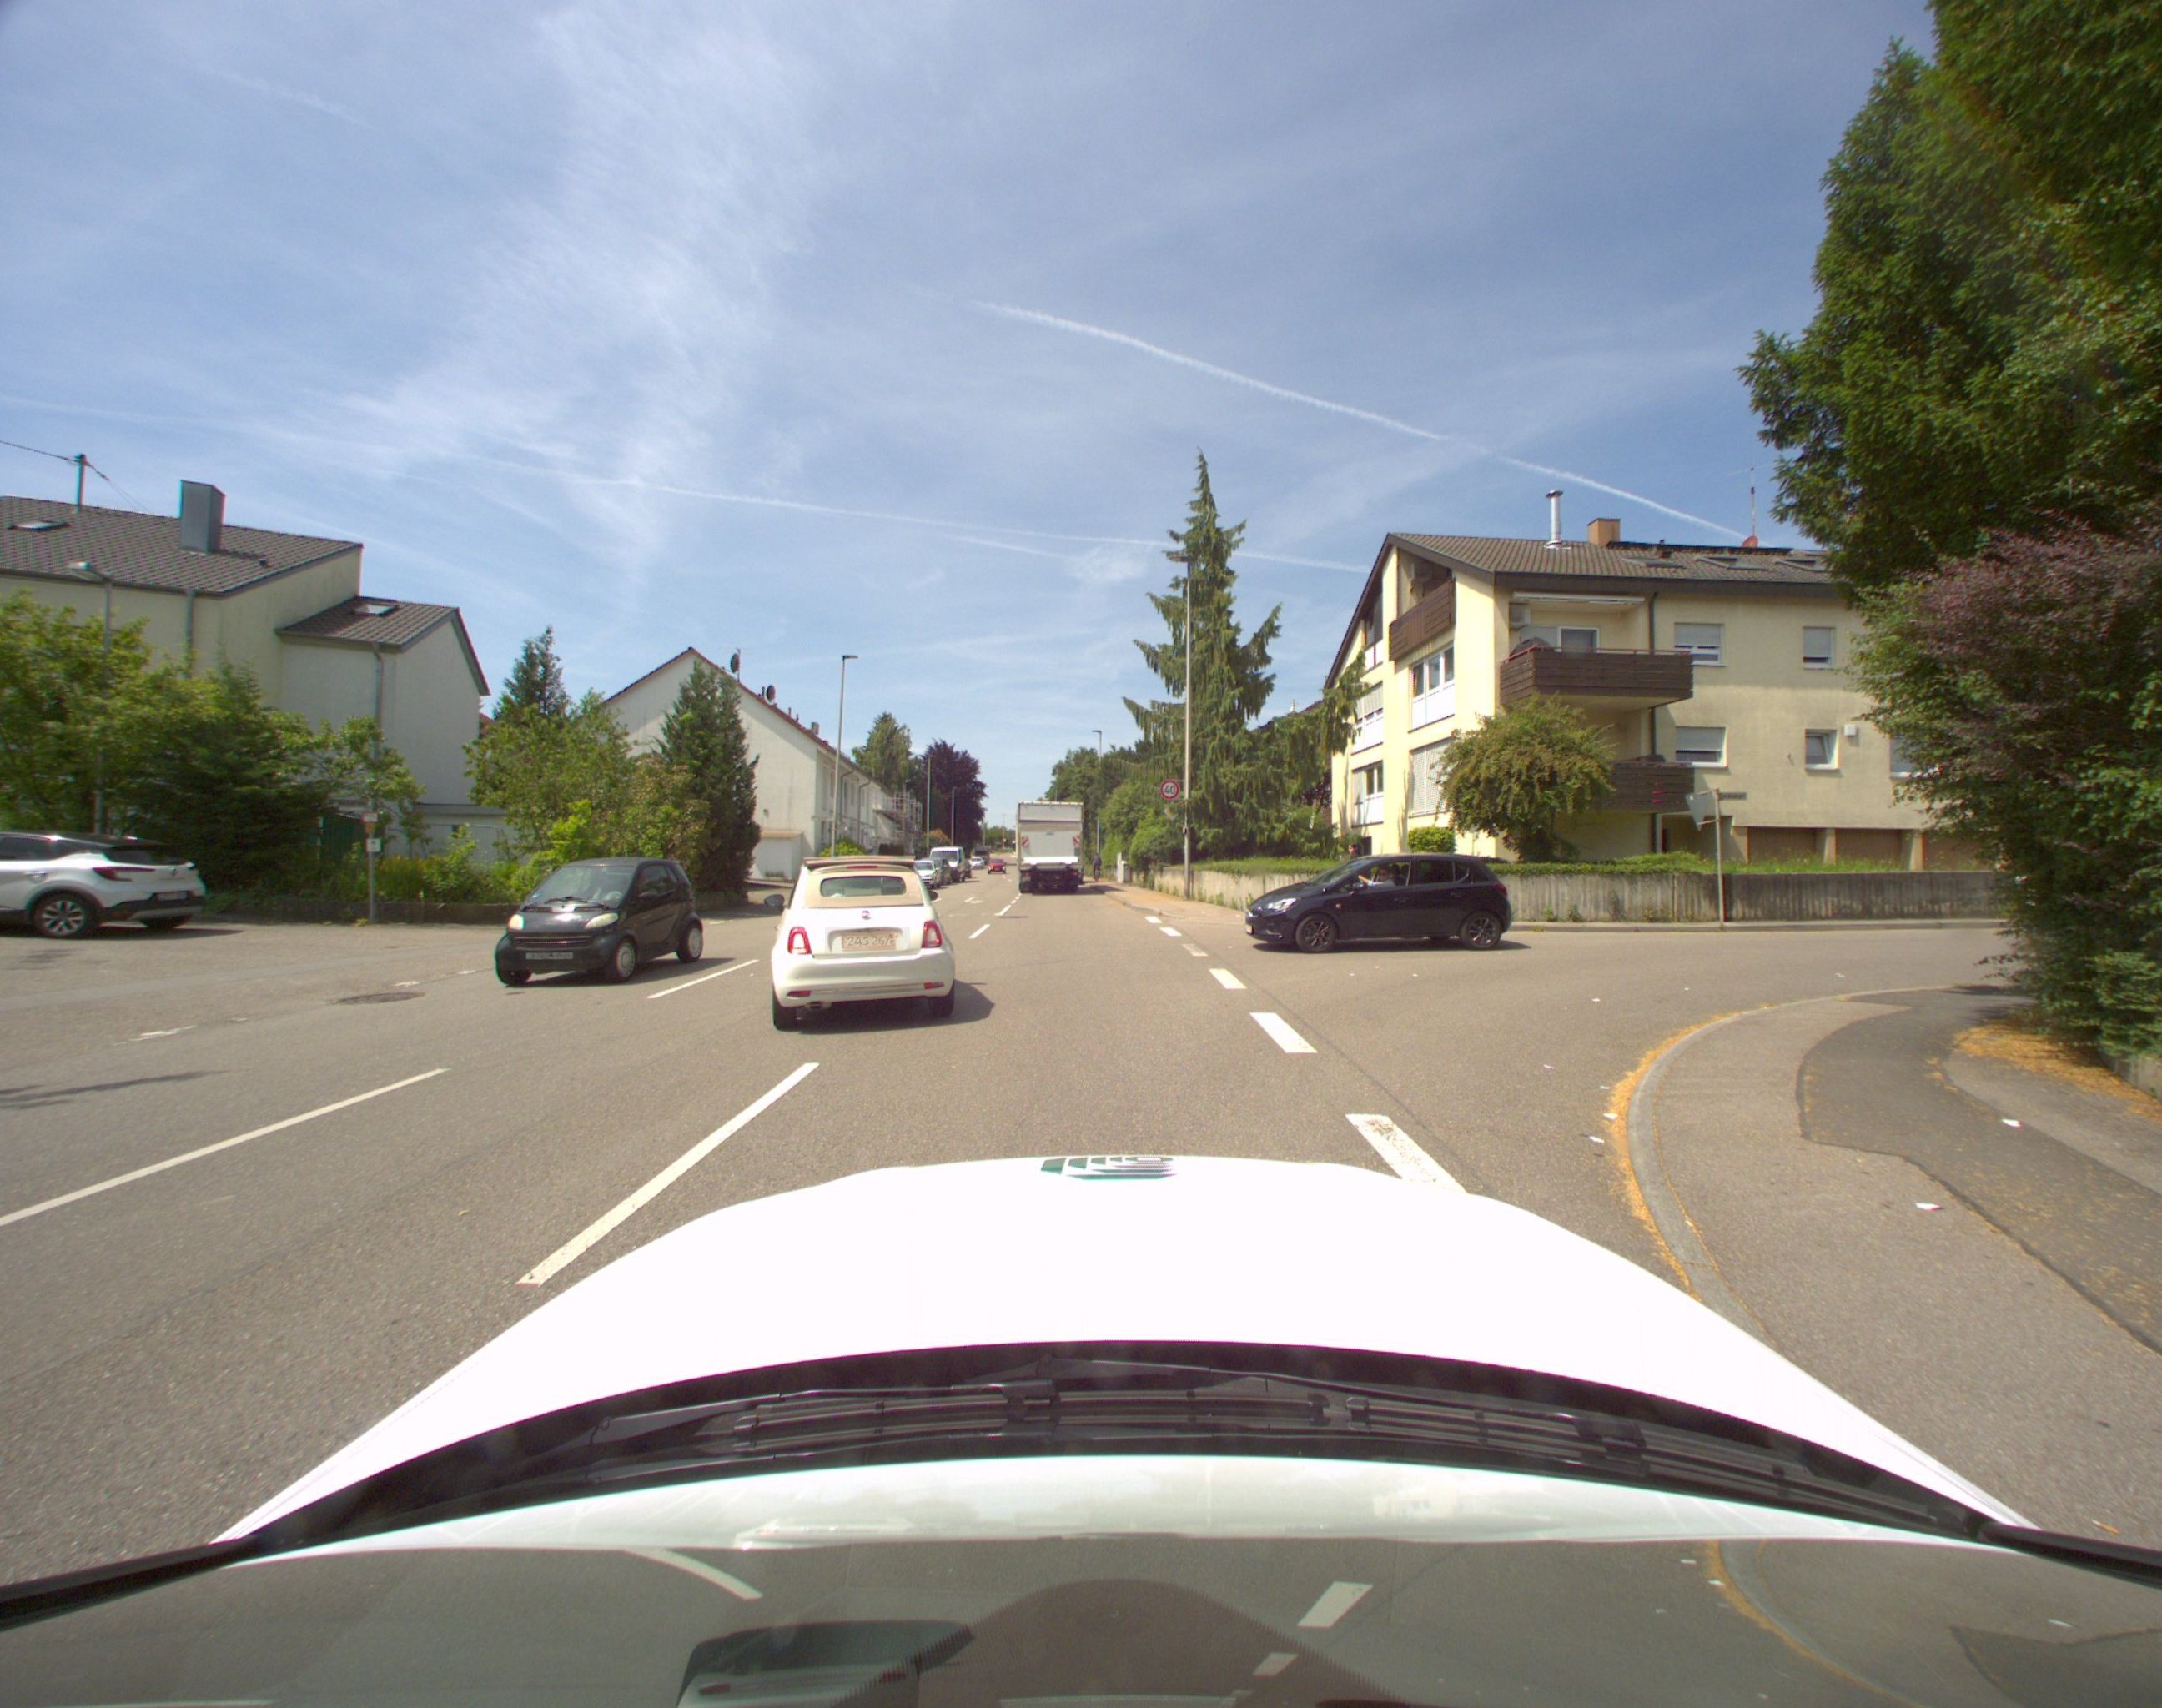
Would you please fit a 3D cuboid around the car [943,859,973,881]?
[{"bbox_3d":[-9.700,1.245,64.415,2.034,1.594,4.748,0,0,-5],"label":"car"}]

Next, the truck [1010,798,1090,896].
[{"bbox_3d":[-1.483,-0.243,35.369,3.063,3.774,7.854,-1,0,-5],"label":"truck"}]

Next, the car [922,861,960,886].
[{"bbox_3d":[-8.058,1.097,47.164,1.802,1.398,3.960,0,0,-5],"label":"car"}]

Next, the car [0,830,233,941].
[{"bbox_3d":[-16.321,0.426,12.516,4.161,1.529,1.781,3,-1,-13],"label":"car"}]

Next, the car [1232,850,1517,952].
[{"bbox_3d":[4.508,0.695,12.891,3.920,1.458,1.658,-1,0,0],"label":"car"}]

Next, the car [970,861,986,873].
[{"bbox_3d":[-13.208,1.638,104.481,1.472,1.494,3.081,0,-1,1],"label":"car"}]

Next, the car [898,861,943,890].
[{"bbox_3d":[-8.054,1.048,41.165,1.802,1.398,3.992,0,0,-5],"label":"car"}]

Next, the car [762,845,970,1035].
[{"bbox_3d":[-2.470,0.742,8.913,1.730,1.560,3.974,0,-1,-19],"label":"car"}]

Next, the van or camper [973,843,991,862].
[{"bbox_3d":[-15.508,-0.250,127.803,2.259,2.962,5.885,1,0,-1],"label":"van or camper"}]

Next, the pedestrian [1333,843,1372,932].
[{"bbox_3d":[5.185,0.620,15.546,0.690,1.671,0.572,0,0,20],"label":"pedestrian"}]

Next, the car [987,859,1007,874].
[{"bbox_3d":[-8.522,1.276,83.111,1.830,1.534,3.994,1,-1,-4],"label":"car"}]

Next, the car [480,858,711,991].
[{"bbox_3d":[-6.306,0.826,10.913,1.477,1.510,2.798,-1,0,-3],"label":"car"}]

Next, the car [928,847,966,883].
[{"bbox_3d":[-8.687,0.686,53.076,2.034,2.200,5.572,0,0,-5],"label":"car"}]

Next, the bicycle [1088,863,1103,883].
[{"bbox_3d":[0.822,1.055,46.729,0.666,1.104,2.422,1,0,-4],"label":"bicycle"}]

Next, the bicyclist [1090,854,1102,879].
[{"bbox_3d":[0.848,0.704,46.696,0.587,1.412,0.741,1,0,-4],"label":"bicyclist"}]

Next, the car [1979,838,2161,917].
[{"bbox_3d":[23.636,0.536,18.472,1.990,1.662,3.994,2,0,-4],"label":"car"}]
